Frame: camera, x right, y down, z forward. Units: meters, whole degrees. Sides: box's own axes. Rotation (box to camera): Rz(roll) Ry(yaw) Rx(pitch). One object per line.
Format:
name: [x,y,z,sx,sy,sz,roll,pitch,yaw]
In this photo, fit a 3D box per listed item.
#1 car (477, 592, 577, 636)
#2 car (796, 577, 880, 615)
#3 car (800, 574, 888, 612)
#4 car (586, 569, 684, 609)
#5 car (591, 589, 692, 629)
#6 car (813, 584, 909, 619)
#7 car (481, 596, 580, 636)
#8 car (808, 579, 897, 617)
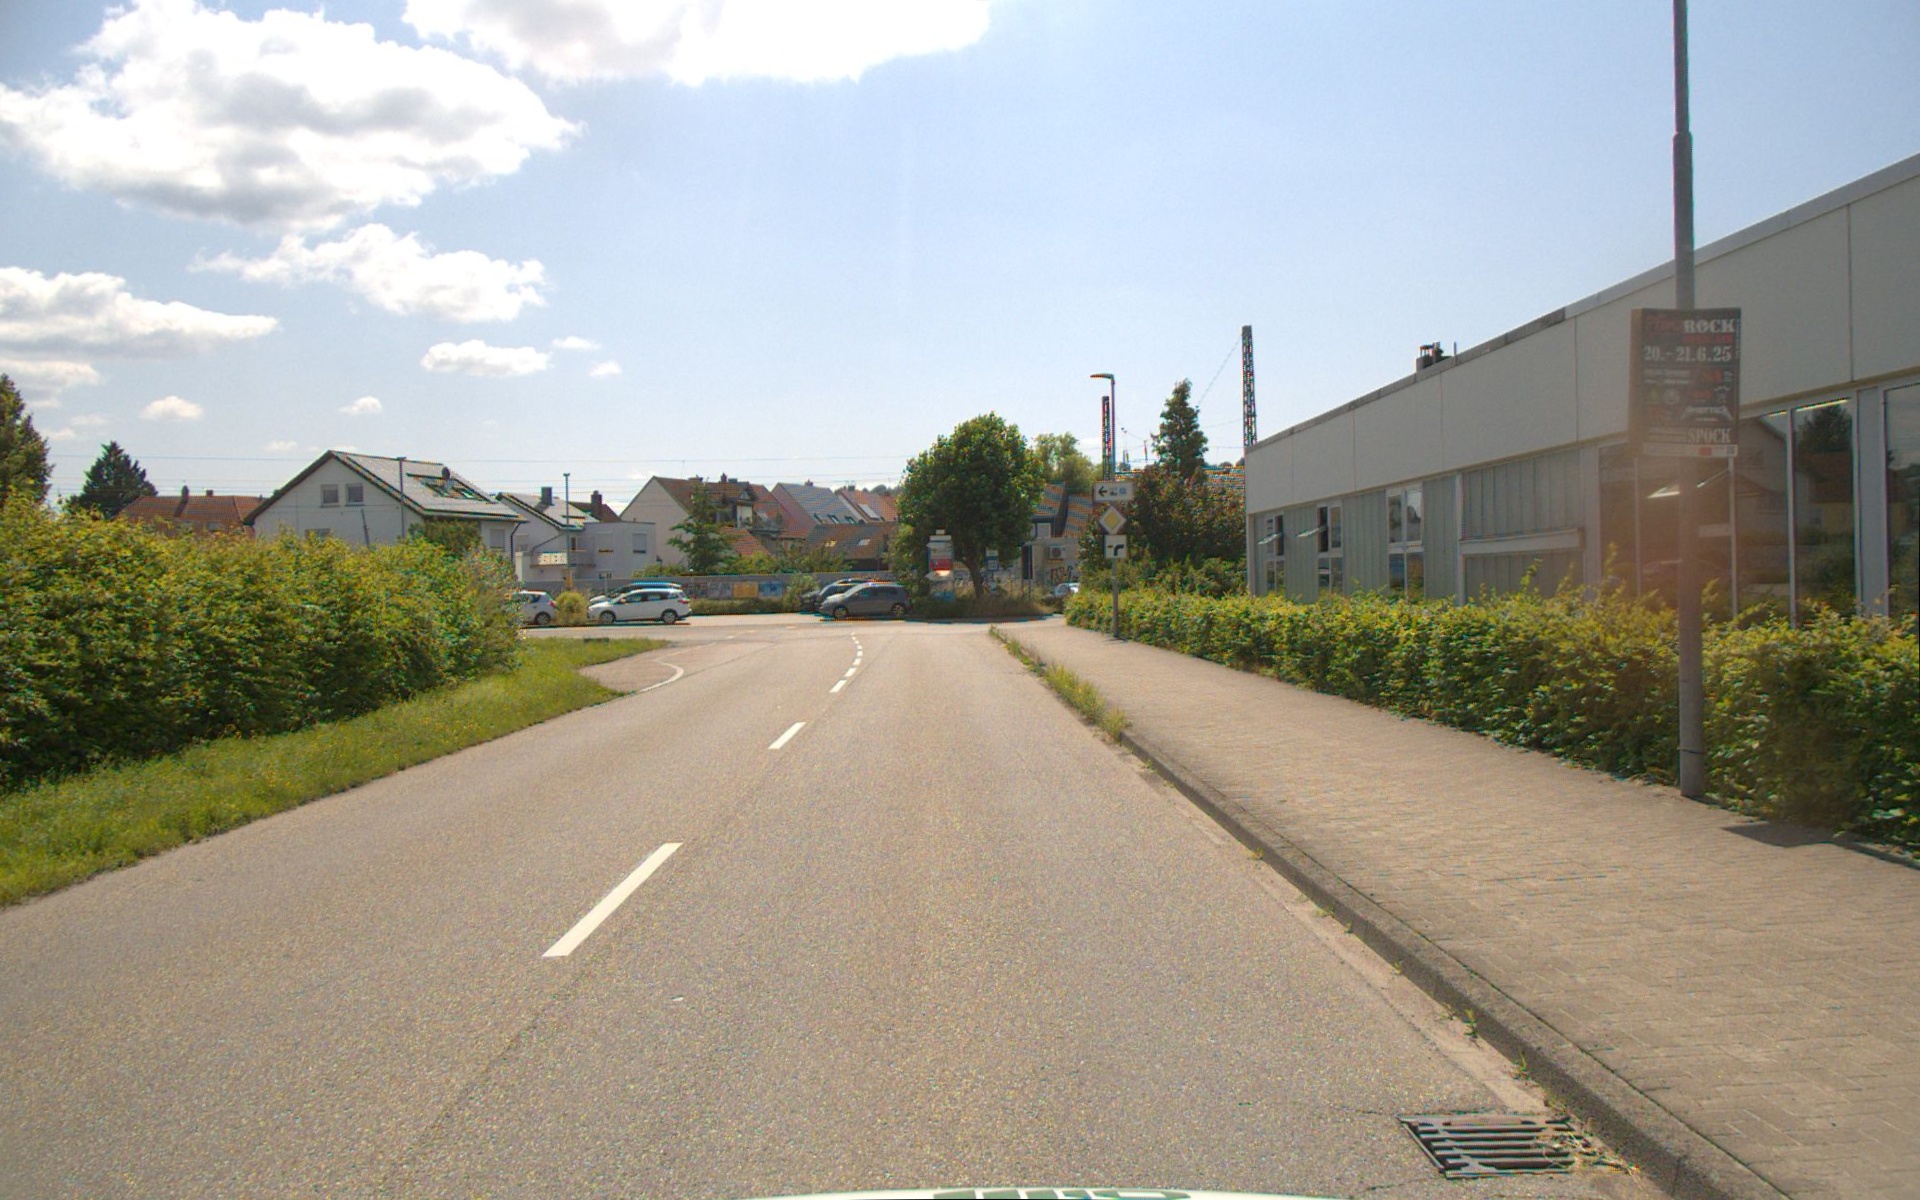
car: [-19.019,0.589,72.656,4.097,1.667,1.945,-3,1,-18]
car: [-5.995,-0.187,81.108,3.915,1.760,1.765,1,0,-11]
car: [-5.511,-0.333,78.456,3.916,1.686,1.995,-2,1,-11]
car: [-14.911,-0.519,76.065,4.371,1.720,1.996,-1,2,-10]
car: [-13.763,0.377,71.438,4.210,1.502,1.821,-2,0,-14]
car: [-4.412,0.049,73.685,4.111,1.488,1.661,-1,0,-10]
car: [-18.301,0.674,70.429,3.941,1.589,1.812,-1,0,-20]
car: [-4.955,-0.107,76.143,3.915,1.614,1.775,-2,0,-11]
